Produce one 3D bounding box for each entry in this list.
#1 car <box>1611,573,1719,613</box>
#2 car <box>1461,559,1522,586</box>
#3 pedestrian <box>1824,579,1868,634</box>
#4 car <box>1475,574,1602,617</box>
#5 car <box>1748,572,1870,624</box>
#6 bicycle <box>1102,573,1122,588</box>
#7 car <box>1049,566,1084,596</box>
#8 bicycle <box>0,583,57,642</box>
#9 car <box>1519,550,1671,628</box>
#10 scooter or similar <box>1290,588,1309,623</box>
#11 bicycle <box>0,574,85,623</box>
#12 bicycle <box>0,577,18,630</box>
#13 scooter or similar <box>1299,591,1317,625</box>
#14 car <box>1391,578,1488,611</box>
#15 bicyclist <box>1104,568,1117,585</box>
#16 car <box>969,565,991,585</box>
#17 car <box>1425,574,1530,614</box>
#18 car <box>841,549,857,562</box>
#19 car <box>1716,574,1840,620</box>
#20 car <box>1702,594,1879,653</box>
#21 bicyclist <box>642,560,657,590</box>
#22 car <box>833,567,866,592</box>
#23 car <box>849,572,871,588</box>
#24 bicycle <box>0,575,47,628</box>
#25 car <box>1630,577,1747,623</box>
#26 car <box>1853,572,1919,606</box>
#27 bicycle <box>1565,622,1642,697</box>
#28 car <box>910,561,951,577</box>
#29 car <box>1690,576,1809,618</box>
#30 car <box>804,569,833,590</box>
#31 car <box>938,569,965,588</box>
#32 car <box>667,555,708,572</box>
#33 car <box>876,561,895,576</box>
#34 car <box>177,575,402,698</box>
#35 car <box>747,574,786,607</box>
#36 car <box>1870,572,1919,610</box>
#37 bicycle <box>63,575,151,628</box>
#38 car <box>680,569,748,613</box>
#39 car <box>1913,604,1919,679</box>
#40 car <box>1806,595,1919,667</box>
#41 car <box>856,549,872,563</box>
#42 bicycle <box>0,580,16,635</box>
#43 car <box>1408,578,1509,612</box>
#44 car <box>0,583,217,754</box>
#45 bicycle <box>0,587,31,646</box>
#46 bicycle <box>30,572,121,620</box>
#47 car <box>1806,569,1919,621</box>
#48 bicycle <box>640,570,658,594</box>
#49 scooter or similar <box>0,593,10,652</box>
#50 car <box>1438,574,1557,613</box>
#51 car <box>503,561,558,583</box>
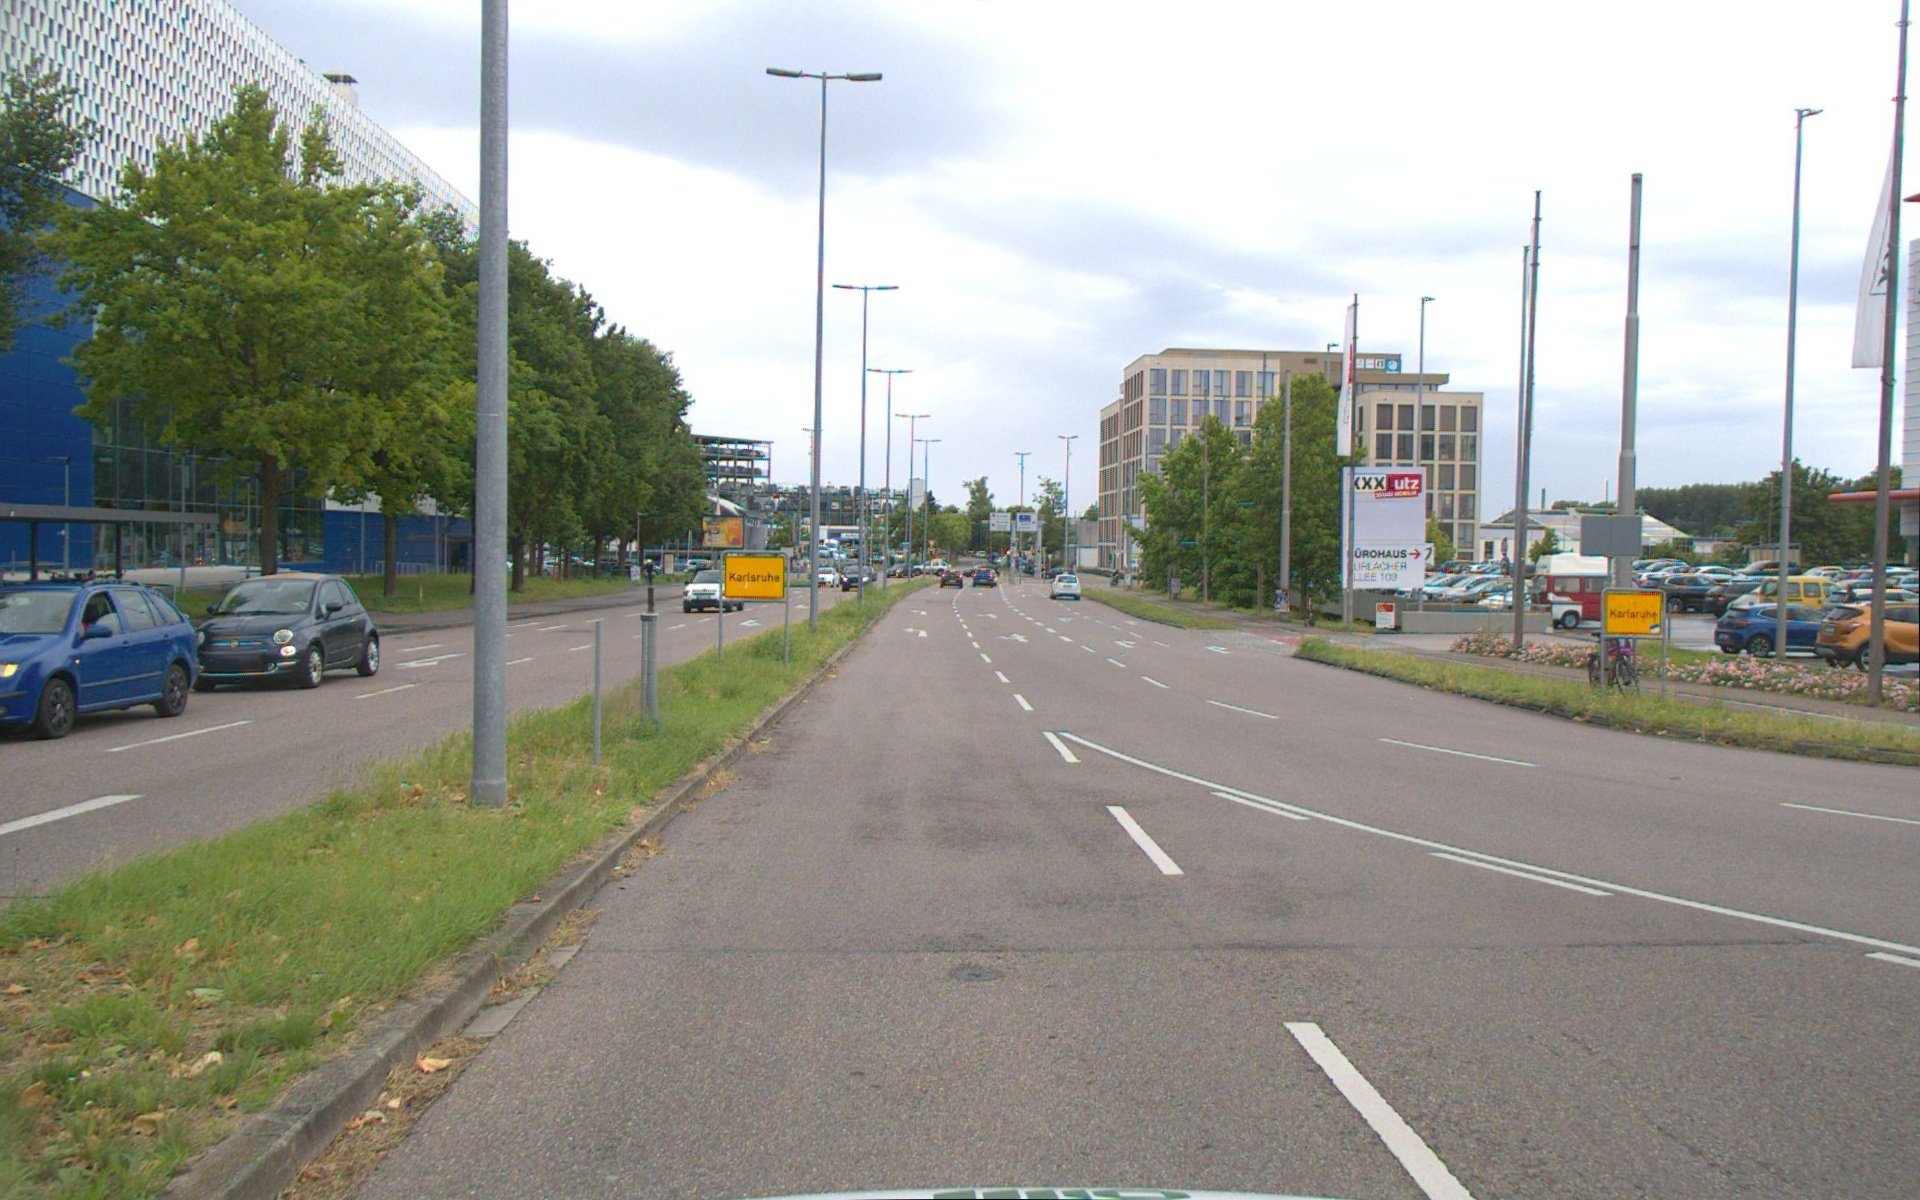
[{"bbox_3d":[31.973,-0.337,75.116,4.086,1.692,1.834,2,1,2],"label":"car"},{"bbox_3d":[35.867,-1.882,111.664,3.556,1.661,1.702,1,3,4],"label":"car"},{"bbox_3d":[29.647,0.210,55.375,0.920,1.749,0.885,1,3,-2],"label":"pedestrian"},{"bbox_3d":[22.649,-0.186,64.889,4.284,1.486,1.962,1,3,0],"label":"car"},{"bbox_3d":[32.067,-0.094,62.510,3.659,1.798,1.734,1,3,0],"label":"car"},{"bbox_3d":[14.172,-1.799,153.889,0.694,1.318,1.986,0,2,-36],"label":"bicycle"},{"bbox_3d":[6.590,-1.215,102.285,1.952,1.782,4.181,1,1,1],"label":"car"},{"bbox_3d":[-20.450,0.246,35.404,1.855,1.177,0.593,3,1,-1],"label":"bicycle"},{"bbox_3d":[23.018,-0.427,60.118,4.625,2.623,2.171,1,3,0],"label":"car"},{"bbox_3d":[14.332,0.229,69.890,0.636,1.446,1.820,1,1,8],"label":"scooter or similar"},{"bbox_3d":[-22.457,-0.036,40.434,1.773,1.101,0.593,3,1,-1],"label":"bicycle"},{"bbox_3d":[-22.714,0.042,37.781,1.975,1.177,0.593,3,1,-1],"label":"bicycle"},{"bbox_3d":[12.909,0.293,61.421,0.362,1.211,1.248,1,2,-1],"label":"scooter or similar"},{"bbox_3d":[22.411,-0.279,77.392,3.972,1.373,1.764,1,3,-2],"label":"car"},{"bbox_3d":[14.044,-2.205,154.055,0.694,1.530,0.988,0,2,-36],"label":"bicyclist"},{"bbox_3d":[1.685,-2.145,139.320,1.797,1.540,4.001,2,2,0],"label":"car"},{"bbox_3d":[22.532,-0.274,72.102,3.970,1.567,1.765,1,3,0],"label":"car"},{"bbox_3d":[-16.209,-6.472,241.271,1.738,1.735,3.920,1,3,5],"label":"car"},{"bbox_3d":[32.088,-0.137,64.942,3.905,1.623,1.880,1,3,0],"label":"car"},{"bbox_3d":[22.589,0.621,45.062,3.905,1.480,1.814,1,1,0],"label":"car"},{"bbox_3d":[-17.197,-1.380,91.606,0.627,1.604,1.000,2,1,-1],"label":"bicyclist"},{"bbox_3d":[-7.004,-1.334,104.894,1.892,1.512,4.438,-1,1,-2],"label":"car"},{"bbox_3d":[-9.292,-1.844,153.932,1.736,1.477,4.405,-1,1,0],"label":"car"},{"bbox_3d":[-22.753,0.007,39.081,1.975,1.177,0.593,3,1,-1],"label":"bicycle"},{"bbox_3d":[31.663,-0.011,71.993,4.223,1.773,1.890,2,3,2],"label":"car"},{"bbox_3d":[46.918,-0.568,82.718,3.494,1.615,1.740,2,1,3],"label":"car"},{"bbox_3d":[9.940,0.903,25.615,0.649,1.067,1.693,1,0,5],"label":"bicycle"},{"bbox_3d":[-3.285,-3.415,184.501,4.331,1.688,1.997,1,1,-7],"label":"car"},{"bbox_3d":[32.123,-0.148,67.361,3.906,1.560,1.888,2,1,-2],"label":"car"},{"bbox_3d":[-10.599,-1.530,124.054,1.828,1.479,4.168,-1,1,-1],"label":"car"},{"bbox_3d":[-0.661,-1.653,127.858,1.947,1.453,4.240,1,0,-2],"label":"car"},{"bbox_3d":[-29.748,-3.982,180.880,4.349,1.741,1.997,1,2,-8],"label":"car"},{"bbox_3d":[-7.746,-3.274,171.783,1.743,1.481,4.182,-1,2,-1],"label":"car"},{"bbox_3d":[-9.275,0.434,23.212,1.570,1.524,4.036,-1,1,-2],"label":"car"},{"bbox_3d":[-9.655,-0.507,82.886,1.847,1.461,4.426,-1,2,-6],"label":"car"},{"bbox_3d":[46.627,-0.395,80.225,3.903,1.780,1.896,2,1,3],"label":"car"},{"bbox_3d":[-20.991,0.032,40.706,1.973,1.177,0.594,3,1,13],"label":"bicycle"},{"bbox_3d":[-9.126,-0.340,61.689,1.891,1.545,4.182,-1,1,0],"label":"car"},{"bbox_3d":[22.838,0.986,34.864,4.433,1.610,1.770,1,3,0],"label":"car"},{"bbox_3d":[22.943,0.751,40.114,3.903,1.672,1.816,1,1,4],"label":"car"},{"bbox_3d":[-14.064,-6.427,241.308,1.738,1.735,3.920,1,3,5],"label":"car"},{"bbox_3d":[-22.139,0.120,36.690,1.975,1.177,0.593,3,1,-1],"label":"bicycle"},{"bbox_3d":[22.464,-0.240,74.656,3.972,1.373,1.835,1,3,-2],"label":"car"},{"bbox_3d":[-9.045,0.587,16.374,1.570,1.469,4.142,-1,1,-2],"label":"car"},{"bbox_3d":[-20.401,0.311,34.325,1.855,1.177,0.593,3,1,-1],"label":"bicycle"},{"bbox_3d":[-22.798,-0.105,42.635,1.974,1.142,0.594,3,1,1],"label":"bicycle"},{"bbox_3d":[31.877,-0.175,57.102,4.321,1.611,1.835,2,3,1],"label":"car"},{"bbox_3d":[-17.231,-1.001,91.595,0.630,1.272,2.056,2,1,-1],"label":"bicycle"},{"bbox_3d":[-19.509,0.440,32.560,0.415,1.168,1.346,3,1,30],"label":"scooter or similar"},{"bbox_3d":[22.480,-0.281,69.300,4.374,1.443,1.868,1,3,0],"label":"car"},{"bbox_3d":[-42.907,-2.776,165.310,5.031,1.997,1.880,0,6,-5],"label":"car"}]
